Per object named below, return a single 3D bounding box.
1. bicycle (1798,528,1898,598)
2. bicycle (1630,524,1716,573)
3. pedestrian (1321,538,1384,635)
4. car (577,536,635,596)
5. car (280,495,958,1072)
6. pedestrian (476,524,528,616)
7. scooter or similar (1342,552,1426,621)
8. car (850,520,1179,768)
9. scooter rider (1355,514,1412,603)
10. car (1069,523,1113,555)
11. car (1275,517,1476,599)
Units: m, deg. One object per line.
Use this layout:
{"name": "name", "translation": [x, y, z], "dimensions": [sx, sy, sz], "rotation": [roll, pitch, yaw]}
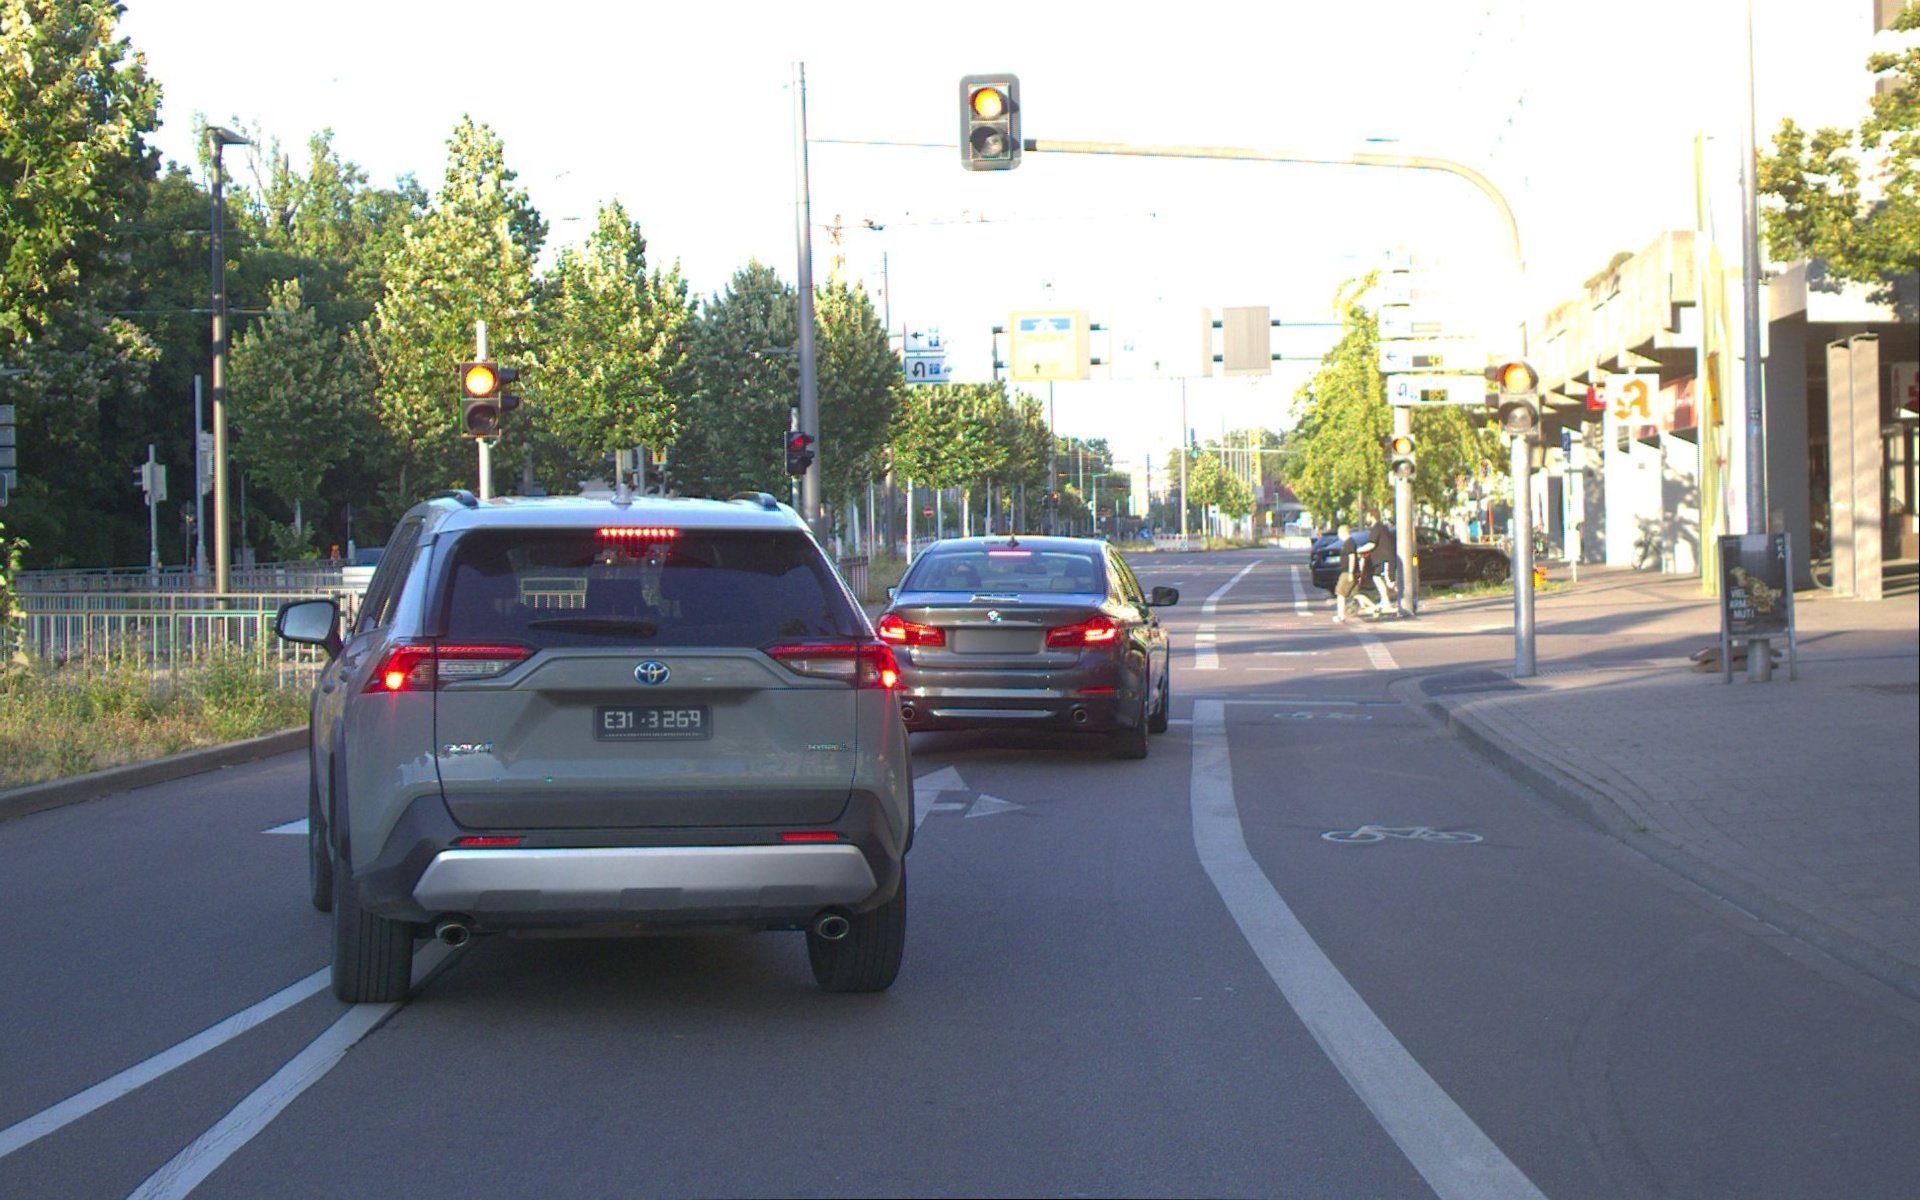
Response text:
{"name": "bicycle", "translation": [14.977, -0.634, 58.035], "dimensions": [0.688, 1.145, 2.023], "rotation": [2, 0, -15]}
{"name": "bicycle", "translation": [17.732, -1.270, 85.538], "dimensions": [2.017, 1.145, 0.690], "rotation": [2, 0, 10]}
{"name": "pedestrian", "translation": [6.499, -0.223, 56.902], "dimensions": [0.836, 1.581, 0.811], "rotation": [-1, 1, 20]}
{"name": "car", "translation": [-13.724, -1.331, 133.460], "dimensions": [1.993, 2.160, 4.752], "rotation": [0, 2, -3]}
{"name": "car", "translation": [-1.414, 0.475, 12.406], "dimensions": [1.854, 1.653, 4.270], "rotation": [0, 2, -14]}
{"name": "pedestrian", "translation": [-8.611, -0.567, 64.618], "dimensions": [0.835, 1.706, 0.647], "rotation": [-1, 1, 3]}
{"name": "scooter or similar", "translation": [7.298, -0.234, 59.111], "dimensions": [1.330, 1.149, 0.513], "rotation": [-1, 1, 21]}
{"name": "car", "translation": [0.479, 0.224, 23.985], "dimensions": [1.932, 1.476, 4.522], "rotation": [0, 2, 6]}
{"name": "scooter rider", "translation": [7.285, -0.723, 59.134], "dimensions": [0.821, 1.509, 0.652], "rotation": [-1, 1, 21]}
{"name": "car", "translation": [6.275, -2.929, 164.342], "dimensions": [1.979, 1.428, 4.843], "rotation": [0, 2, 3]}
{"name": "car", "translation": [9.005, -0.931, 74.327], "dimensions": [4.256, 1.653, 1.860], "rotation": [-2, 3, -39]}
